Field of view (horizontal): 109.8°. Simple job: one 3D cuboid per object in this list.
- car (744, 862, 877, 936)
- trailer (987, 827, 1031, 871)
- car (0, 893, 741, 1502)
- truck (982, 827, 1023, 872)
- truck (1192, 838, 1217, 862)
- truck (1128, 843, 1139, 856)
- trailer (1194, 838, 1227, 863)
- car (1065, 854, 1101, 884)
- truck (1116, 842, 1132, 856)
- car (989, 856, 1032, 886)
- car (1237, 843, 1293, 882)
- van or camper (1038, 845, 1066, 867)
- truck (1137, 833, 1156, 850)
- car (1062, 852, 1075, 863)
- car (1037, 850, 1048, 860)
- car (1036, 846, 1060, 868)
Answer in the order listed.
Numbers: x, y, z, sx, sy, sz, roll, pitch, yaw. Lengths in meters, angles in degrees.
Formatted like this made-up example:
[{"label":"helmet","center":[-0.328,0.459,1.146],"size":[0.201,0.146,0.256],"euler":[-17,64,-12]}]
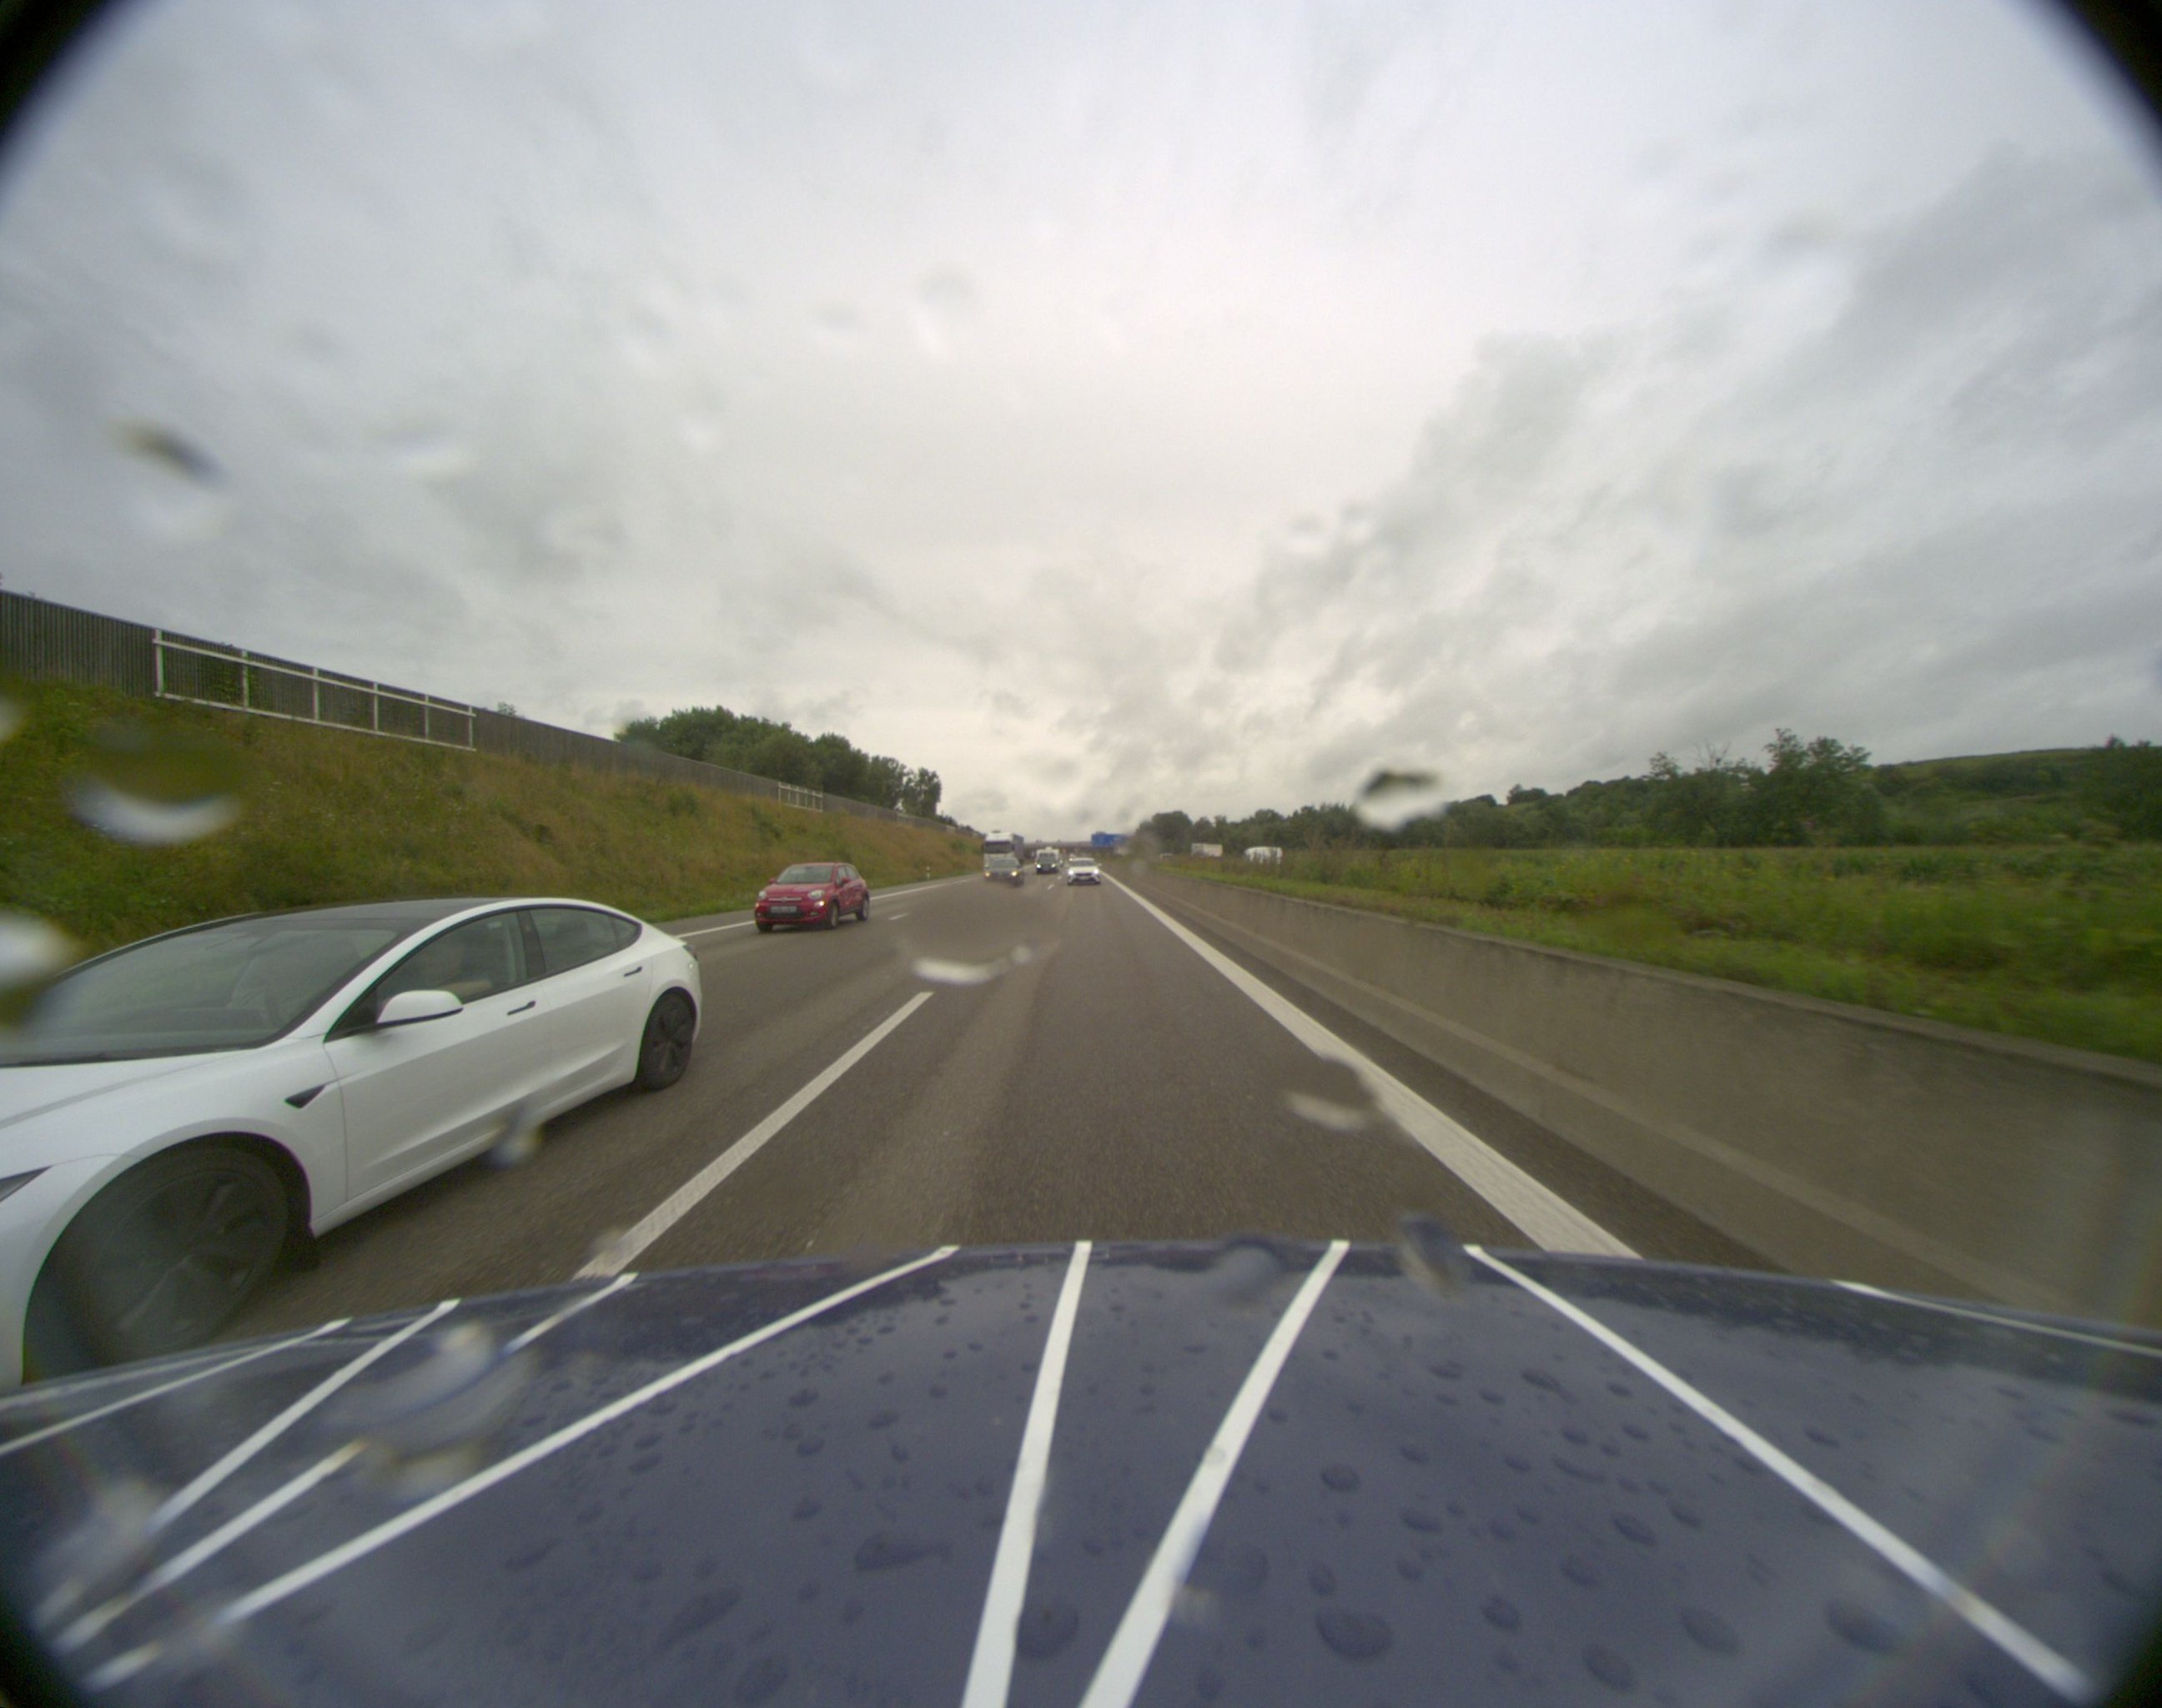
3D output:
[{"label":"car","center":[-6.635,1.043,19.154],"size":[1.878,1.526,3.999],"euler":[-2,1,0]},{"label":"trailer","center":[-7.348,-0.562,79.596],"size":[3.089,4.003,15.220],"euler":[-2,1,0]},{"label":"car","center":[-3.813,1.062,3.897],"size":[1.878,1.355,4.812],"euler":[-2,1,1]},{"label":"truck","center":[-7.331,-0.454,72.100],"size":[3.089,4.003,6.955],"euler":[-2,1,0]},{"label":"truck","center":[18.006,-0.548,111.126],"size":[2.763,3.324,4.520],"euler":[-2,1,0]},{"label":"truck","center":[16.378,-1.461,237.325],"size":[2.455,3.951,8.767],"euler":[-1,0,-3]},{"label":"trailer","center":[18.028,-0.527,106.326],"size":[2.794,3.309,9.925],"euler":[-2,1,0]},{"label":"car","center":[0.160,0.806,42.859],"size":[1.840,1.455,4.000],"euler":[-2,1,2]},{"label":"truck","center":[12.487,-1.394,223.459],"size":[3.609,3.858,16.108],"euler":[-2,1,0]},{"label":"car","center":[-3.921,0.923,42.923],"size":[1.929,1.480,4.485],"euler":[-2,1,1]},{"label":"car","center":[10.442,0.446,43.486],"size":[1.998,2.002,5.069],"euler":[-2,0,0]},{"label":"van or camper","center":[-3.009,0.176,80.166],"size":[2.432,2.139,6.498],"euler":[-2,1,1]},{"label":"truck","center":[17.031,-3.201,198.664],"size":[3.333,4.317,16.898],"euler":[-2,1,0]},{"label":"car","center":[-1.996,0.603,122.068],"size":[1.998,1.759,4.000],"euler":[0,0,0]},{"label":"car","center":[-8.114,0.154,160.448],"size":[1.999,2.002,4.262],"euler":[-1,0,0]},{"label":"car","center":[-3.219,0.249,75.166],"size":[1.998,2.002,4.938],"euler":[-2,1,2]}]
